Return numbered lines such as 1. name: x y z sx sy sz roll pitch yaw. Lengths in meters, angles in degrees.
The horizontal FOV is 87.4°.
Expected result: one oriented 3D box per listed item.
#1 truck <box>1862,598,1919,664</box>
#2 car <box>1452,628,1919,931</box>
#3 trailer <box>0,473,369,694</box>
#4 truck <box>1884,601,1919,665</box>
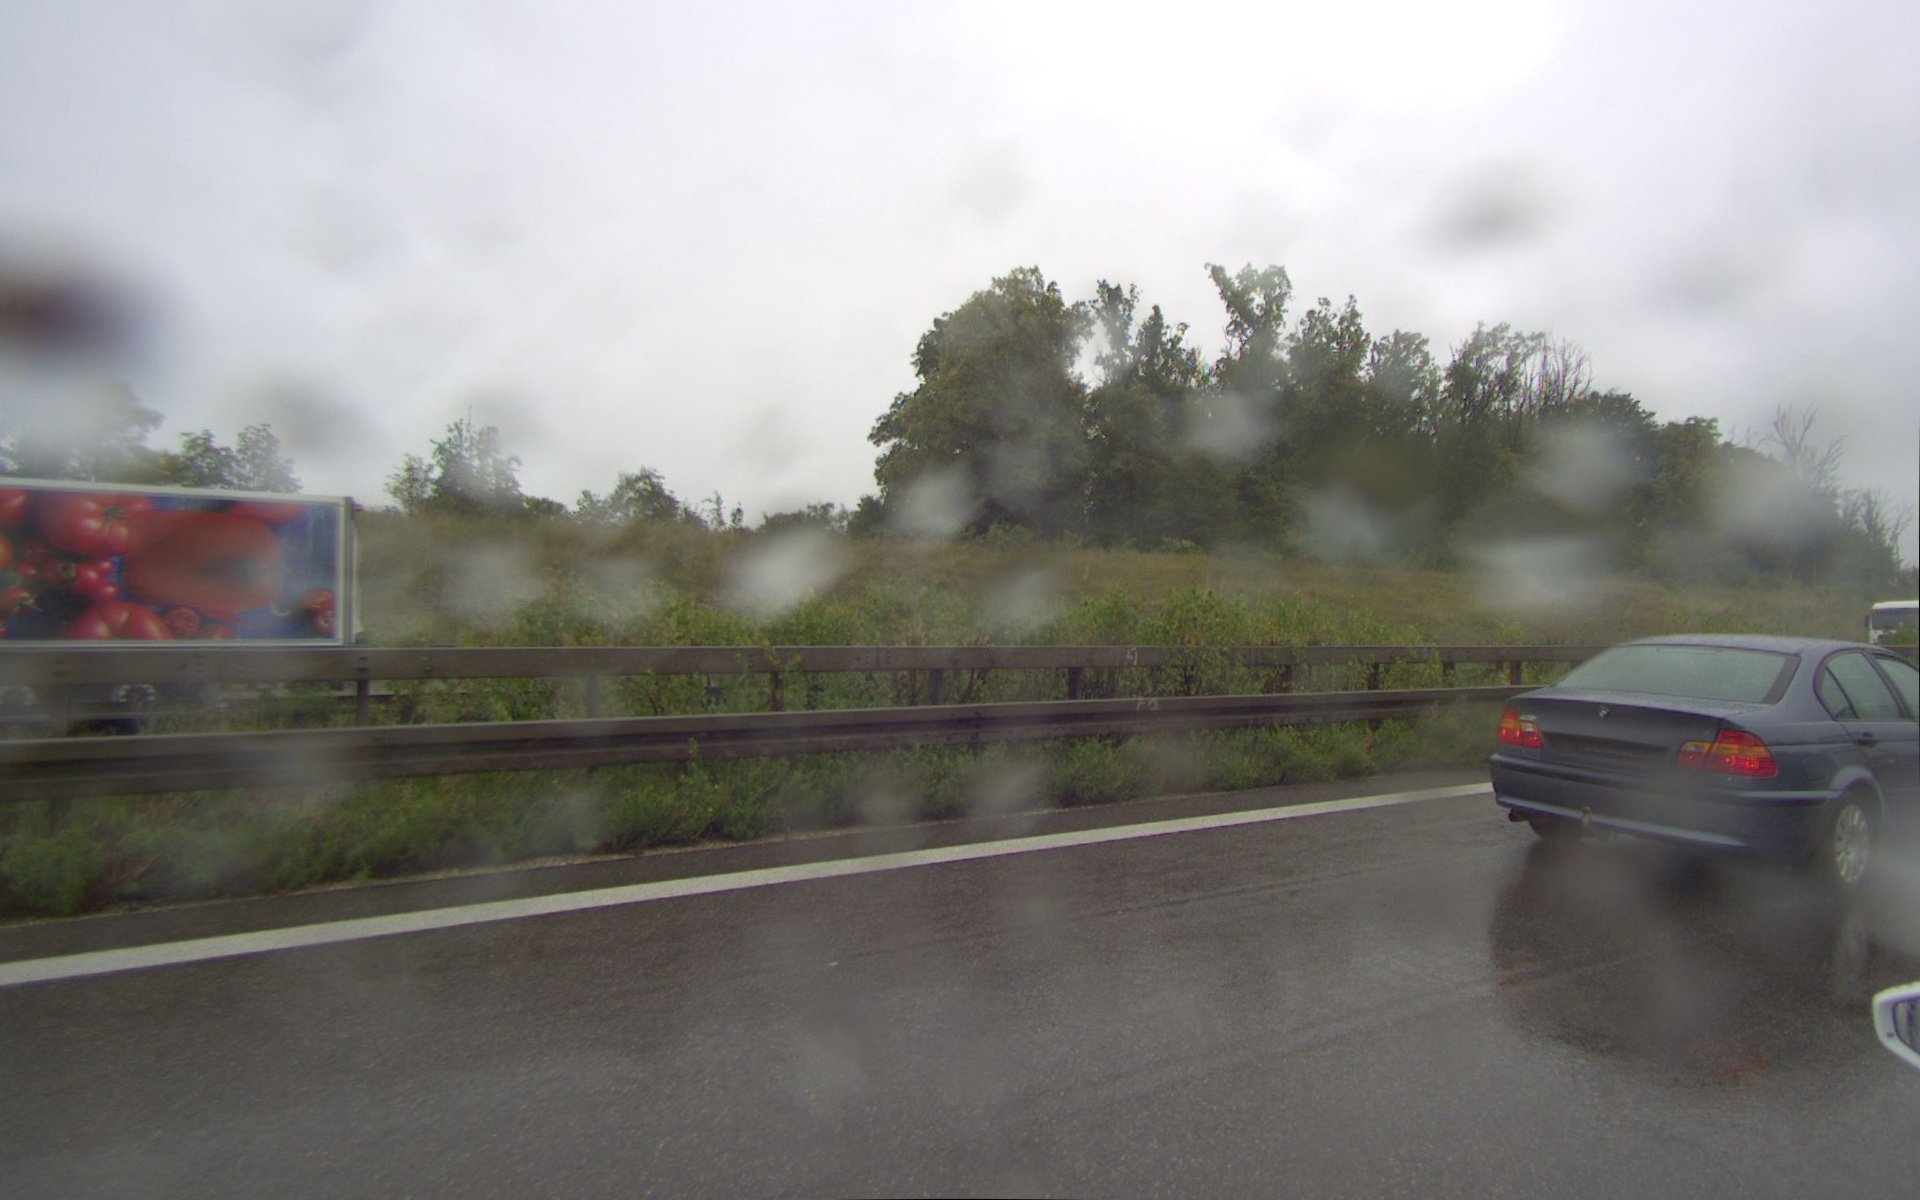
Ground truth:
1. truck: 50.444 1.694 53.210 5.140 3.323 2.529 2 -3 -31
2. car: 5.336 0.935 6.641 4.180 1.418 1.710 2 -1 -30
3. trailer: -14.015 -0.239 15.085 8.768 3.123 1.984 1 0 -31
4. truck: 54.945 1.961 55.912 9.240 3.341 2.543 3 -3 -30
